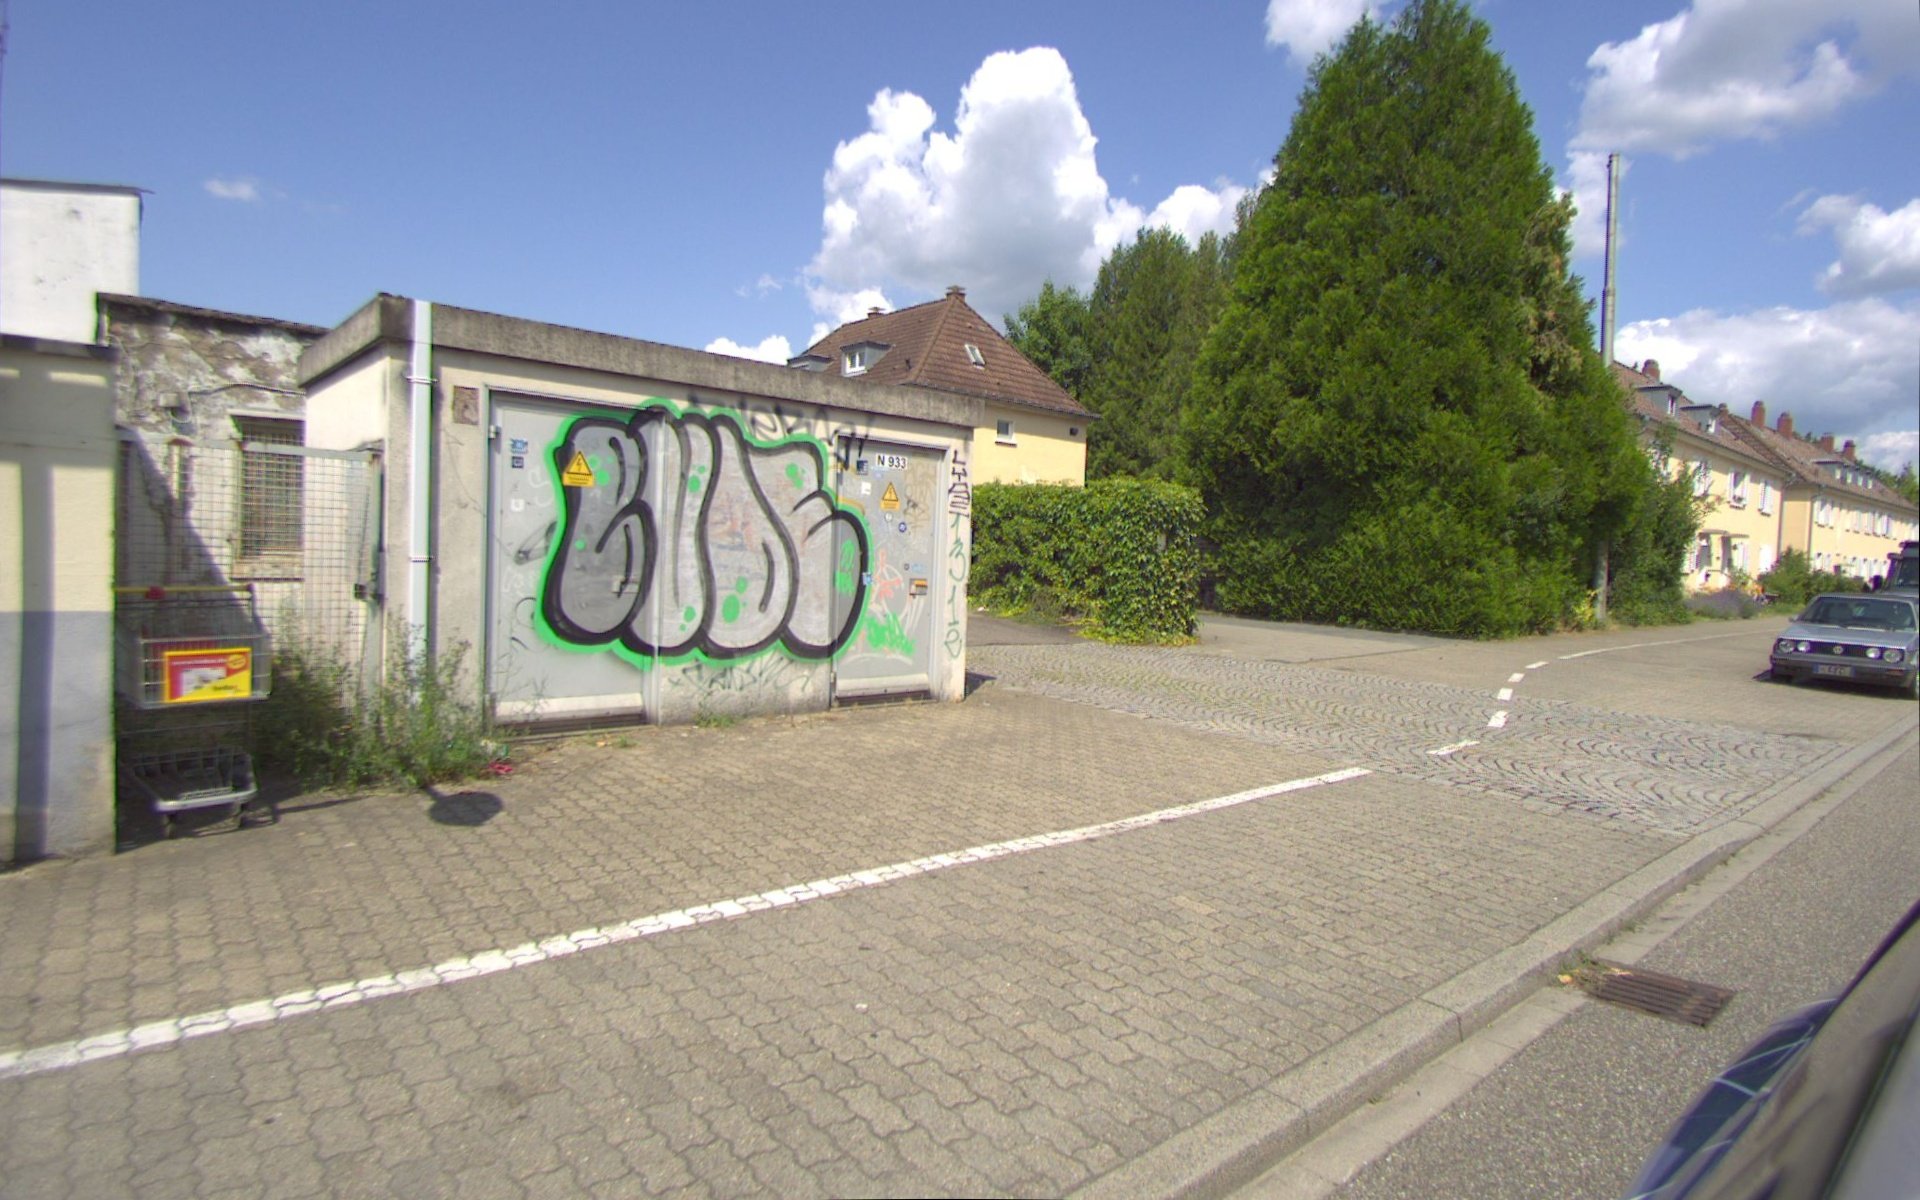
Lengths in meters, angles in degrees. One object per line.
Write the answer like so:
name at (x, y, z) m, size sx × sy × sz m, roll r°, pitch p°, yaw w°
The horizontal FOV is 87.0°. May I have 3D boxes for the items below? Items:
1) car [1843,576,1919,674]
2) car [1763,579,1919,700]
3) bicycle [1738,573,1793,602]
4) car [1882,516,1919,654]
car at (17.130, 0.388, 17.957) m, size 4.283 × 1.534 × 1.694 m, roll -2°, pitch 5°, yaw -43°
car at (13.401, 0.472, 14.874) m, size 4.024 × 1.448 × 1.656 m, roll -1°, pitch 4°, yaw -40°
bicycle at (32.515, -0.505, 40.883) m, size 0.285 × 1.116 × 1.693 m, roll 0°, pitch 3°, yaw -40°
car at (21.706, -0.285, 21.797) m, size 4.793 × 2.793 × 2.001 m, roll -1°, pitch 4°, yaw -40°
